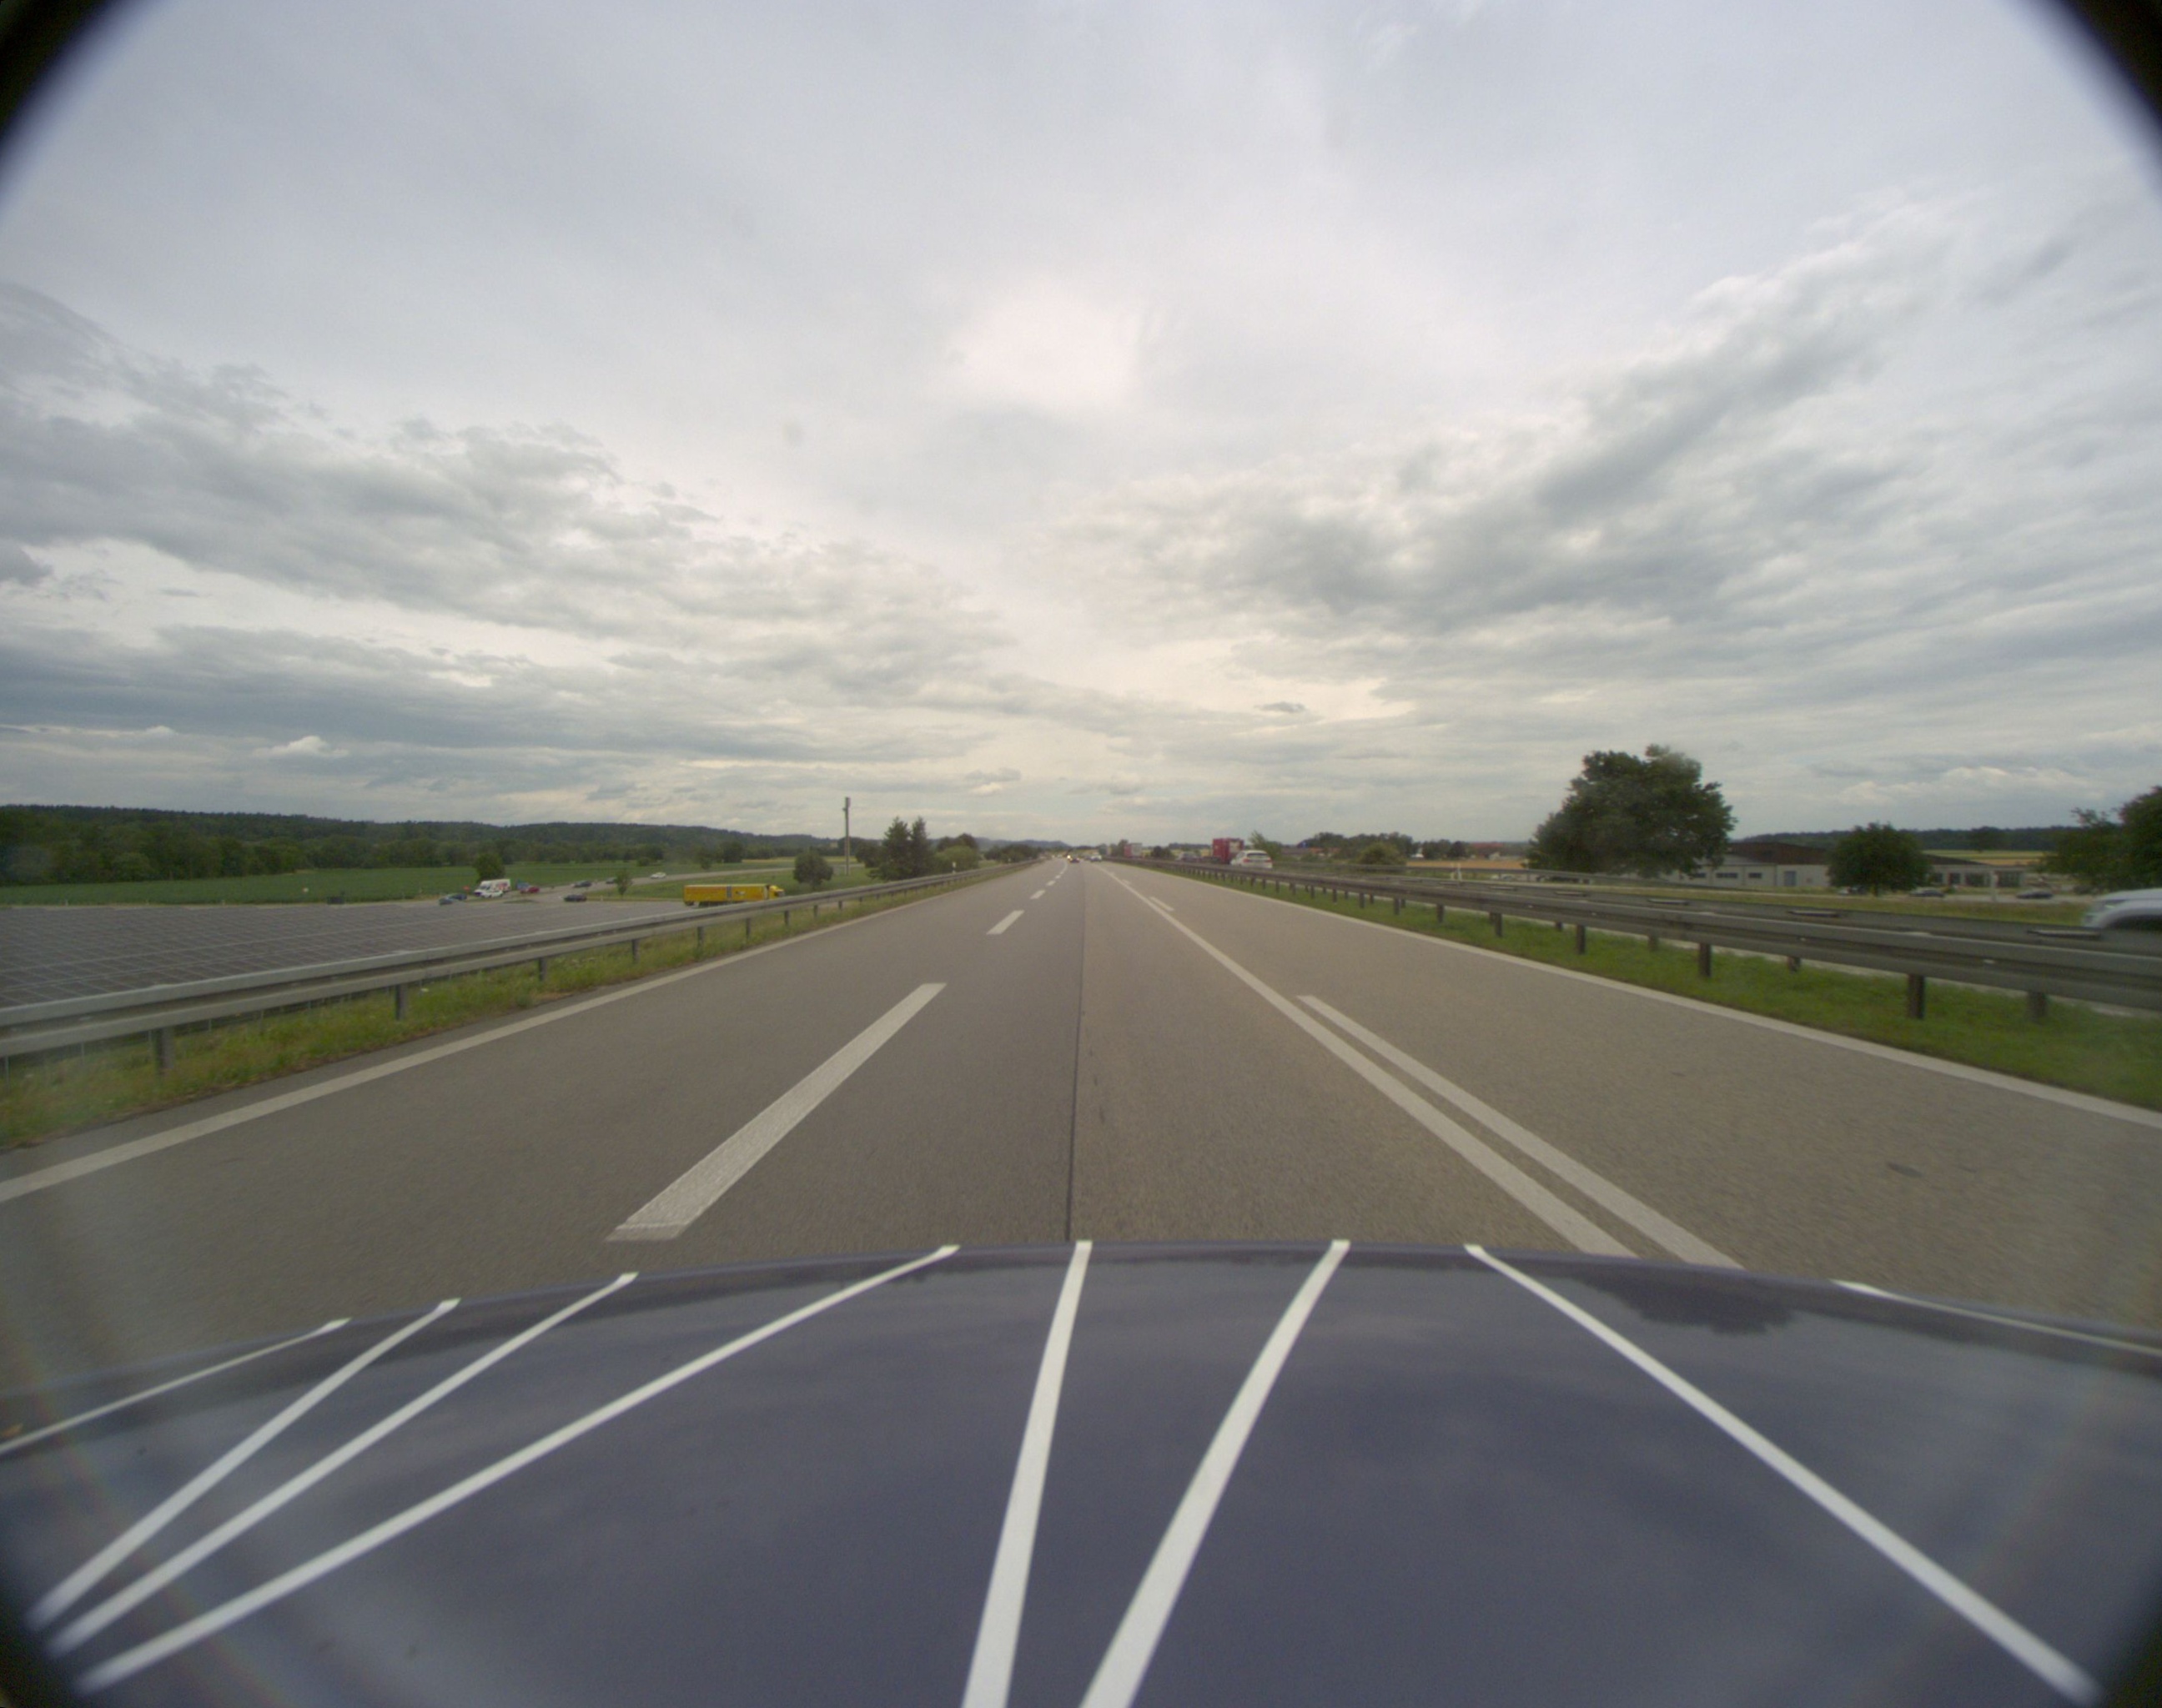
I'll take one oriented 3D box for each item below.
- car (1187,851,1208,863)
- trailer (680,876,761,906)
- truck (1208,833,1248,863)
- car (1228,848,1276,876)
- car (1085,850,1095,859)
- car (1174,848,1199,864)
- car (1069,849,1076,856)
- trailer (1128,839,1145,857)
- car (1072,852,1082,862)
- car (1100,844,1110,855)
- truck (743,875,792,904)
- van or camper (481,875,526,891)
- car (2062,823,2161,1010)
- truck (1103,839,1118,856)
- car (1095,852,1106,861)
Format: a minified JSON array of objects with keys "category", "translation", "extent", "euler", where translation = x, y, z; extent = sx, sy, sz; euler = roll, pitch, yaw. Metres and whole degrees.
[{"category":"car","translation":[14.079,0.321,91.901],"extent":[1.830,1.338,4.783],"euler":[0,0,0]},{"category":"trailer","translation":[-62.042,6.354,131.104],"extent":[12.304,4.759,3.018],"euler":[-1,0,-3]},{"category":"truck","translation":[18.432,-0.783,96.134],"extent":[2.675,3.516,11.076],"euler":[1,1,-1]},{"category":"car","translation":[10.354,0.457,46.403],"extent":[1.858,1.579,4.816],"euler":[0,0,0]},{"category":"car","translation":[2.103,0.105,176.223],"extent":[1.998,2.002,4.000],"euler":[-2,1,4]},{"category":"car","translation":[10.575,0.152,76.265],"extent":[1.896,1.579,4.762],"euler":[0,0,0]},{"category":"car","translation":[-2.219,-0.360,201.801],"extent":[1.850,1.655,4.000],"euler":[0,0,2]},{"category":"trailer","translation":[13.157,-1.429,181.414],"extent":[2.916,3.918,13.974],"euler":[-2,1,0]},{"category":"car","translation":[-0.704,0.551,137.798],"extent":[1.850,1.850,3.999],"euler":[0,0,-1]},{"category":"car","translation":[7.438,-1.448,233.474],"extent":[2.545,3.252,7.208],"euler":[-2,1,-1]},{"category":"truck","translation":[-54.198,6.162,131.589],"extent":[7.137,4.759,3.018],"euler":[-1,0,-3]},{"category":"van or camper","translation":[-122.277,6.111,160.939],"extent":[2.798,2.891,7.132],"euler":[-5,0,13]},{"category":"car","translation":[10.071,0.537,4.686],"extent":[1.896,1.579,4.762],"euler":[0,0,0]},{"category":"truck","translation":[10.225,-2.150,265.110],"extent":[4.334,5.528,14.036],"euler":[-2,1,-1]},{"category":"car","translation":[3.510,0.439,136.339],"extent":[1.850,1.665,4.200],"euler":[0,0,2]}]
